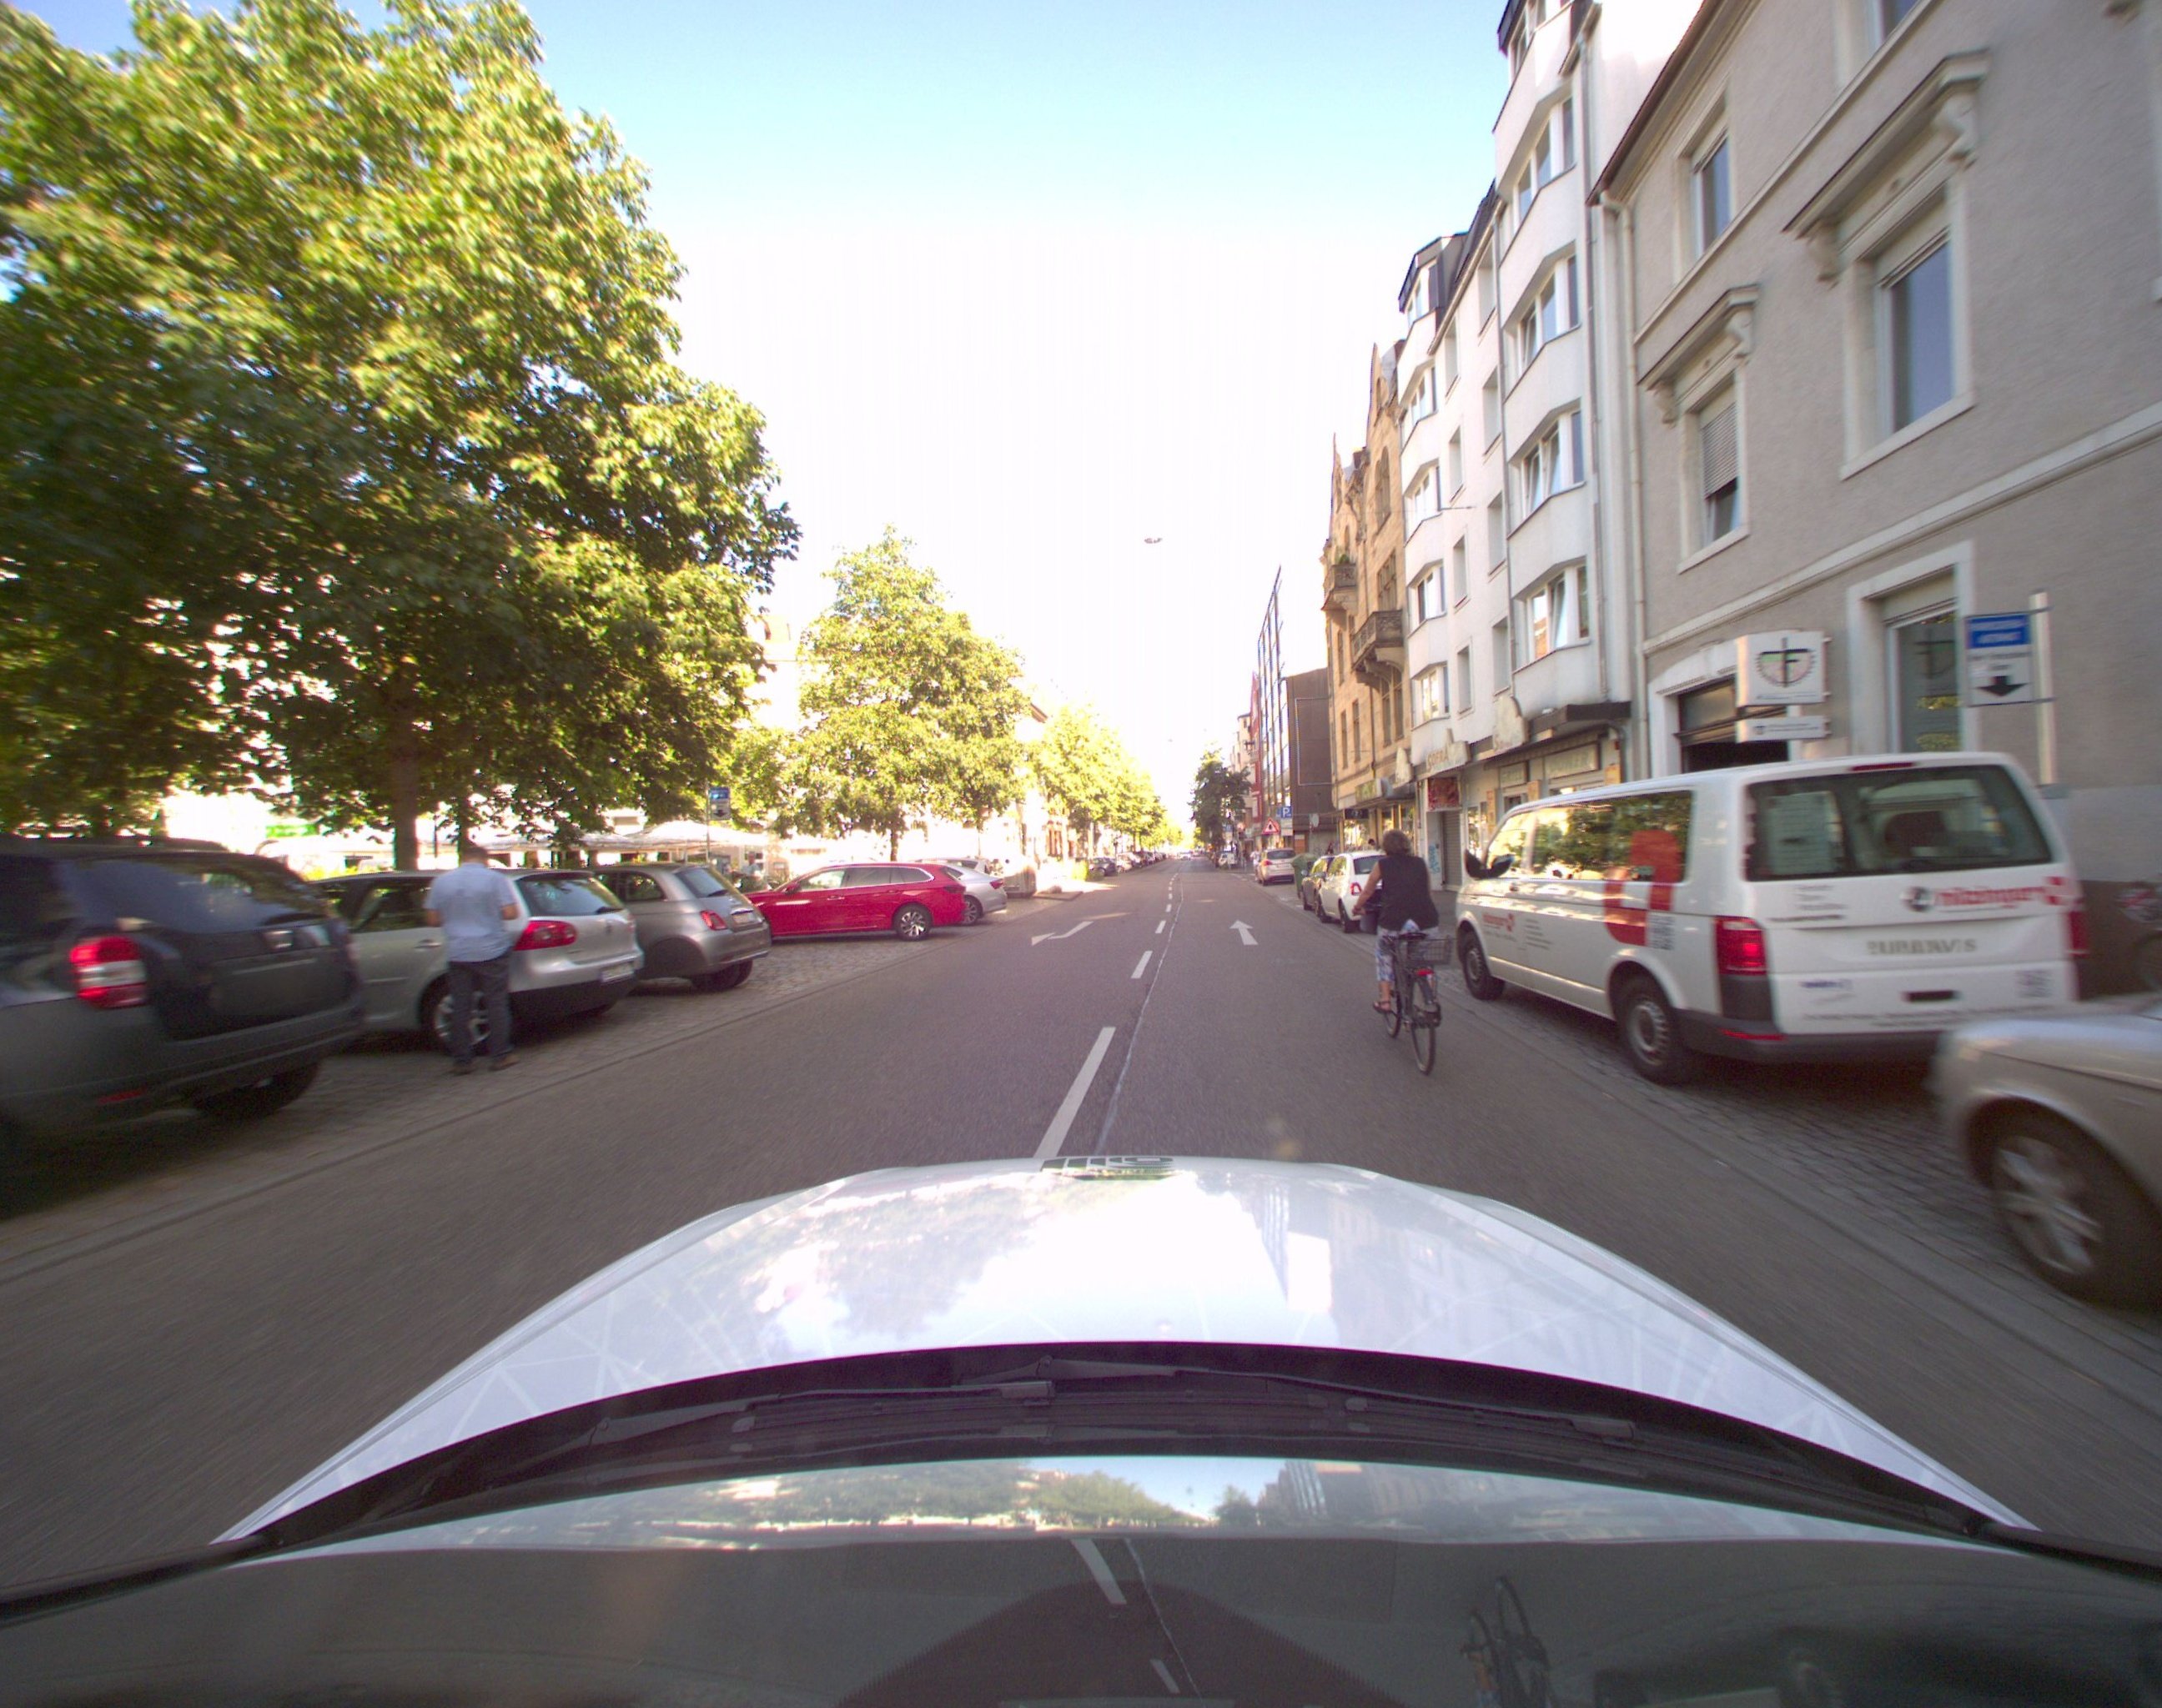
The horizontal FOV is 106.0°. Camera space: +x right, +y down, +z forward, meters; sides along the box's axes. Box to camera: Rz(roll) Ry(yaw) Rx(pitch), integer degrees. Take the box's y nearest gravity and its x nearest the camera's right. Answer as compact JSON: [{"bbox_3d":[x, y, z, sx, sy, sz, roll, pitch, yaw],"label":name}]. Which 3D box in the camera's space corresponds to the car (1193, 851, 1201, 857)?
[{"bbox_3d":[30.160,-0.035,211.191,1.859,1.556,4.010,-1,-1,9],"label":"car"}]

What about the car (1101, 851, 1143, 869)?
[{"bbox_3d":[4.156,0.613,81.789,3.964,1.674,2.094,-1,-1,9],"label":"car"}]

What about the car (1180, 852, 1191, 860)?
[{"bbox_3d":[19.462,0.368,151.460,1.982,1.556,4.010,-1,-1,9],"label":"car"}]

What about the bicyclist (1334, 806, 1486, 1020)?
[{"bbox_3d":[2.410,0.408,6.112,0.782,1.453,1.098,-1,-1,7],"label":"bicyclist"}]

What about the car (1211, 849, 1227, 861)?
[{"bbox_3d":[18.595,0.134,110.166,1.982,1.453,4.009,-1,0,8],"label":"car"}]

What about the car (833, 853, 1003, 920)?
[{"bbox_3d":[-4.192,0.784,20.904,4.005,1.586,1.816,0,-1,-24],"label":"car"}]

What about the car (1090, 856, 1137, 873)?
[{"bbox_3d":[2.896,0.920,72.021,3.964,1.508,2.005,-1,-1,9],"label":"car"}]

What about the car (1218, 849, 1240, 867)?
[{"bbox_3d":[14.205,0.395,78.007,1.981,1.618,4.021,0,-1,10],"label":"car"}]

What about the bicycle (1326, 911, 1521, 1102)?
[{"bbox_3d":[2.406,0.984,6.116,0.649,0.958,2.703,-1,-1,8],"label":"bicycle"}]

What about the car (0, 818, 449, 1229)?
[{"bbox_3d":[-6.010,0.699,4.079,3.984,1.668,1.995,0,0,-8],"label":"car"}]

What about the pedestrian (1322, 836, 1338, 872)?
[{"bbox_3d":[13.119,0.029,42.834,0.639,1.871,0.631,-1,-1,30],"label":"pedestrian"}]

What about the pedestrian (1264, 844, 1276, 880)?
[{"bbox_3d":[9.445,0.387,40.681,0.509,1.780,0.613,-1,-1,6],"label":"pedestrian"}]

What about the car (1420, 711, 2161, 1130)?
[{"bbox_3d":[4.543,0.335,6.545,1.983,2.004,5.127,-2,0,7],"label":"car"}]

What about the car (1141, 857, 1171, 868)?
[{"bbox_3d":[10.804,1.246,117.040,3.961,1.508,2.006,0,-1,11],"label":"car"}]

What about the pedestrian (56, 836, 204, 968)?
[{"bbox_3d":[-9.558,0.465,8.216,0.643,1.260,0.699,0,-1,-7],"label":"pedestrian"}]

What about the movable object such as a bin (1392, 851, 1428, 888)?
[{"bbox_3d":[10.400,0.490,25.754,0.871,1.123,0.830,-1,-1,8],"label":"movable object such as a bin"}]

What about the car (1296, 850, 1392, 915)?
[{"bbox_3d":[6.382,0.662,20.105,1.668,1.448,3.794,-1,-1,9],"label":"car"}]

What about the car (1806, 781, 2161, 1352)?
[{"bbox_3d":[3.760,0.566,1.591,1.689,1.604,3.766,-2,-1,9],"label":"car"}]

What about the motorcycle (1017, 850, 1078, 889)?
[{"bbox_3d":[-1.494,0.697,36.052,2.449,1.604,1.006,-3,-1,26],"label":"motorcycle"}]

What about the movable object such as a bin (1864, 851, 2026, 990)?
[{"bbox_3d":[7.562,0.564,7.160,0.763,1.161,0.580,-1,-1,11],"label":"movable object such as a bin"}]

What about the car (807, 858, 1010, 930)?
[{"bbox_3d":[-3.873,0.843,18.332,4.240,1.477,1.722,0,-1,-24],"label":"car"}]

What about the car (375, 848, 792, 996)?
[{"bbox_3d":[-5.790,0.762,9.788,3.968,1.598,1.752,-1,-1,4],"label":"car"}]

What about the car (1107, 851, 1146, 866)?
[{"bbox_3d":[4.957,0.497,87.959,3.964,1.508,1.899,-1,-1,9],"label":"car"}]

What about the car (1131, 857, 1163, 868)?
[{"bbox_3d":[8.681,1.116,107.332,3.961,1.508,2.006,0,-1,11],"label":"car"}]

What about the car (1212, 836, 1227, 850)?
[{"bbox_3d":[20.699,-1.589,121.635,1.982,2.013,4.009,-3,0,8],"label":"car"}]

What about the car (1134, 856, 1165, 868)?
[{"bbox_3d":[9.180,1.109,109.547,3.961,1.508,2.006,0,-1,11],"label":"car"}]

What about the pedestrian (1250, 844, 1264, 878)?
[{"bbox_3d":[8.890,0.356,41.181,0.610,1.735,0.635,-1,-1,9],"label":"pedestrian"}]

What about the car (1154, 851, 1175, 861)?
[{"bbox_3d":[17.780,0.333,173.679,3.955,2.014,2.009,-1,0,18],"label":"car"}]

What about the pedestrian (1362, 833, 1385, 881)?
[{"bbox_3d":[11.327,0.122,31.581,0.604,1.788,0.685,-3,-1,7],"label":"pedestrian"}]

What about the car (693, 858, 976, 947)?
[{"bbox_3d":[-4.535,0.838,15.437,4.844,1.488,1.755,0,-1,-16],"label":"car"}]

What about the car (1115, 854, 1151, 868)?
[{"bbox_3d":[5.927,0.785,92.499,3.964,1.508,2.004,-1,-1,8],"label":"car"}]

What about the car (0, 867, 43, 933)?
[{"bbox_3d":[-40.659,1.648,28.373,5.346,2.314,1.989,0,-1,-15],"label":"car"}]

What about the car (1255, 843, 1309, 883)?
[{"bbox_3d":[9.074,0.418,37.065,1.888,1.675,4.835,-1,-1,8],"label":"car"}]

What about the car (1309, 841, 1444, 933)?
[{"bbox_3d":[5.716,0.609,16.176,1.709,1.515,3.590,-4,-1,8],"label":"car"}]

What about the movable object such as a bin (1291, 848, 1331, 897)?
[{"bbox_3d":[7.484,0.590,26.597,1.066,1.457,1.498,-5,0,13],"label":"movable object such as a bin"}]

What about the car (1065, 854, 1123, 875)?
[{"bbox_3d":[0.955,0.755,59.383,3.964,1.508,2.005,-1,-1,9],"label":"car"}]

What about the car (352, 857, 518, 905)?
[{"bbox_3d":[-29.238,1.186,37.087,5.592,2.014,1.806,0,-1,-19],"label":"car"}]

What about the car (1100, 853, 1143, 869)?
[{"bbox_3d":[3.963,0.718,79.301,3.964,1.508,2.005,-1,-1,9],"label":"car"}]

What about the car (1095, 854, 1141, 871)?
[{"bbox_3d":[3.402,0.777,74.286,3.964,1.508,2.005,-1,-1,9],"label":"car"}]

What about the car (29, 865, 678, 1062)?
[{"bbox_3d":[-5.985,0.843,7.143,3.976,1.448,1.802,-1,-1,-2],"label":"car"}]

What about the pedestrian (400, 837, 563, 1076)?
[{"bbox_3d":[-4.371,0.714,5.982,0.696,1.649,0.646,-1,-1,1],"label":"pedestrian"}]

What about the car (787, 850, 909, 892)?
[{"bbox_3d":[-10.742,0.753,37.580,5.279,1.800,2.150,0,-1,-19],"label":"car"}]

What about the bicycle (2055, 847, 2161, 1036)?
[{"bbox_3d":[7.102,0.553,5.147,0.478,1.186,1.730,-5,-3,26],"label":"bicycle"}]
